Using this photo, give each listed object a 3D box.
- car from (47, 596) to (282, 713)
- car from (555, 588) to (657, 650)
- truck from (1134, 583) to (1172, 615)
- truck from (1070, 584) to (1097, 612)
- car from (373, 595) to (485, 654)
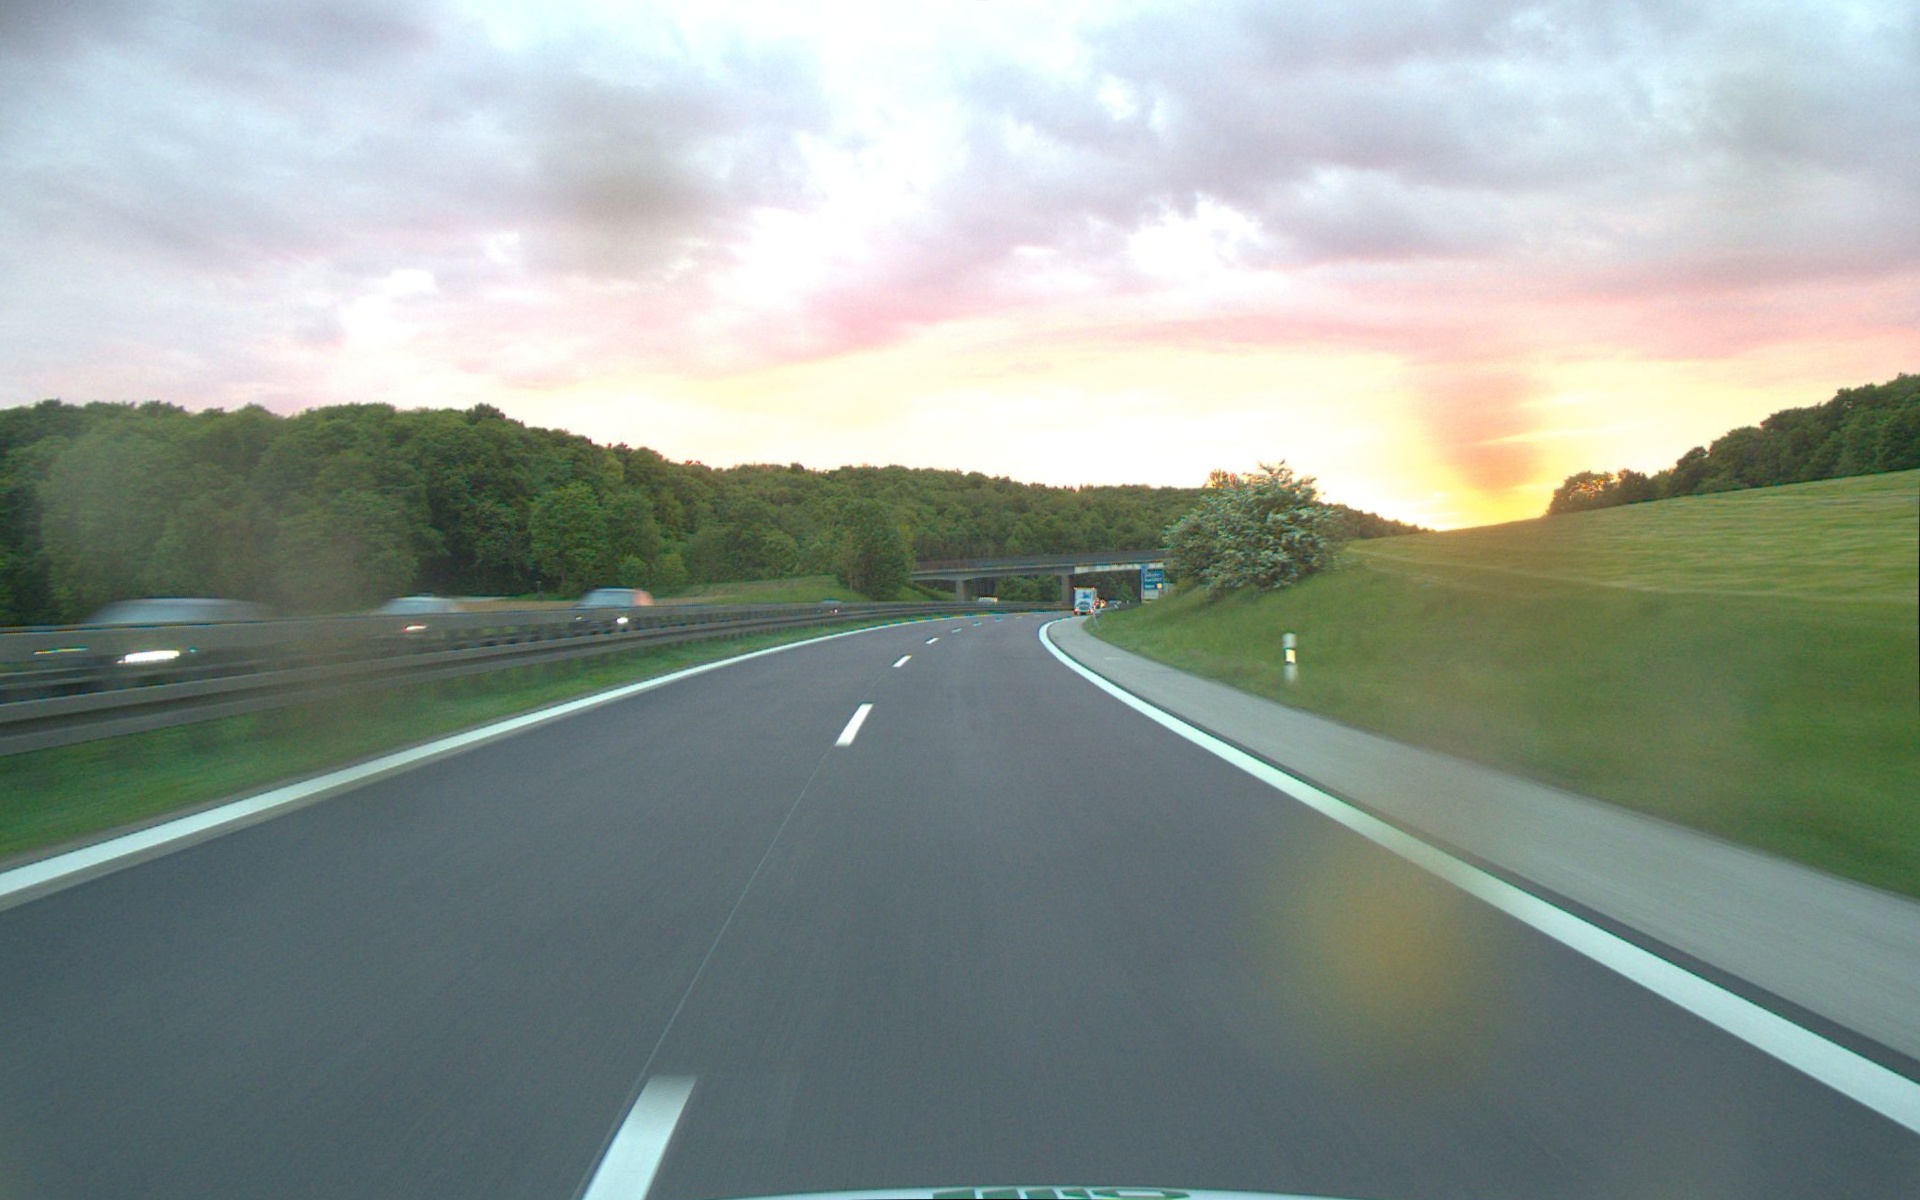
[{"bbox_3d":[-11.586,0.726,24.390,1.576,1.509,3.999,-1,1,-1],"label":"car"},{"bbox_3d":[-10.546,0.553,49.633,1.952,1.757,4.771,1,0,1],"label":"car"},{"bbox_3d":[27.526,-0.119,234.919,3.873,4.362,14.335,-1,0,12],"label":"truck"},{"bbox_3d":[12.447,-0.228,165.975,2.227,2.711,5.241,-2,1,9],"label":"truck"},{"bbox_3d":[-13.977,0.610,43.737,1.619,1.443,4.001,1,1,1],"label":"car"}]
